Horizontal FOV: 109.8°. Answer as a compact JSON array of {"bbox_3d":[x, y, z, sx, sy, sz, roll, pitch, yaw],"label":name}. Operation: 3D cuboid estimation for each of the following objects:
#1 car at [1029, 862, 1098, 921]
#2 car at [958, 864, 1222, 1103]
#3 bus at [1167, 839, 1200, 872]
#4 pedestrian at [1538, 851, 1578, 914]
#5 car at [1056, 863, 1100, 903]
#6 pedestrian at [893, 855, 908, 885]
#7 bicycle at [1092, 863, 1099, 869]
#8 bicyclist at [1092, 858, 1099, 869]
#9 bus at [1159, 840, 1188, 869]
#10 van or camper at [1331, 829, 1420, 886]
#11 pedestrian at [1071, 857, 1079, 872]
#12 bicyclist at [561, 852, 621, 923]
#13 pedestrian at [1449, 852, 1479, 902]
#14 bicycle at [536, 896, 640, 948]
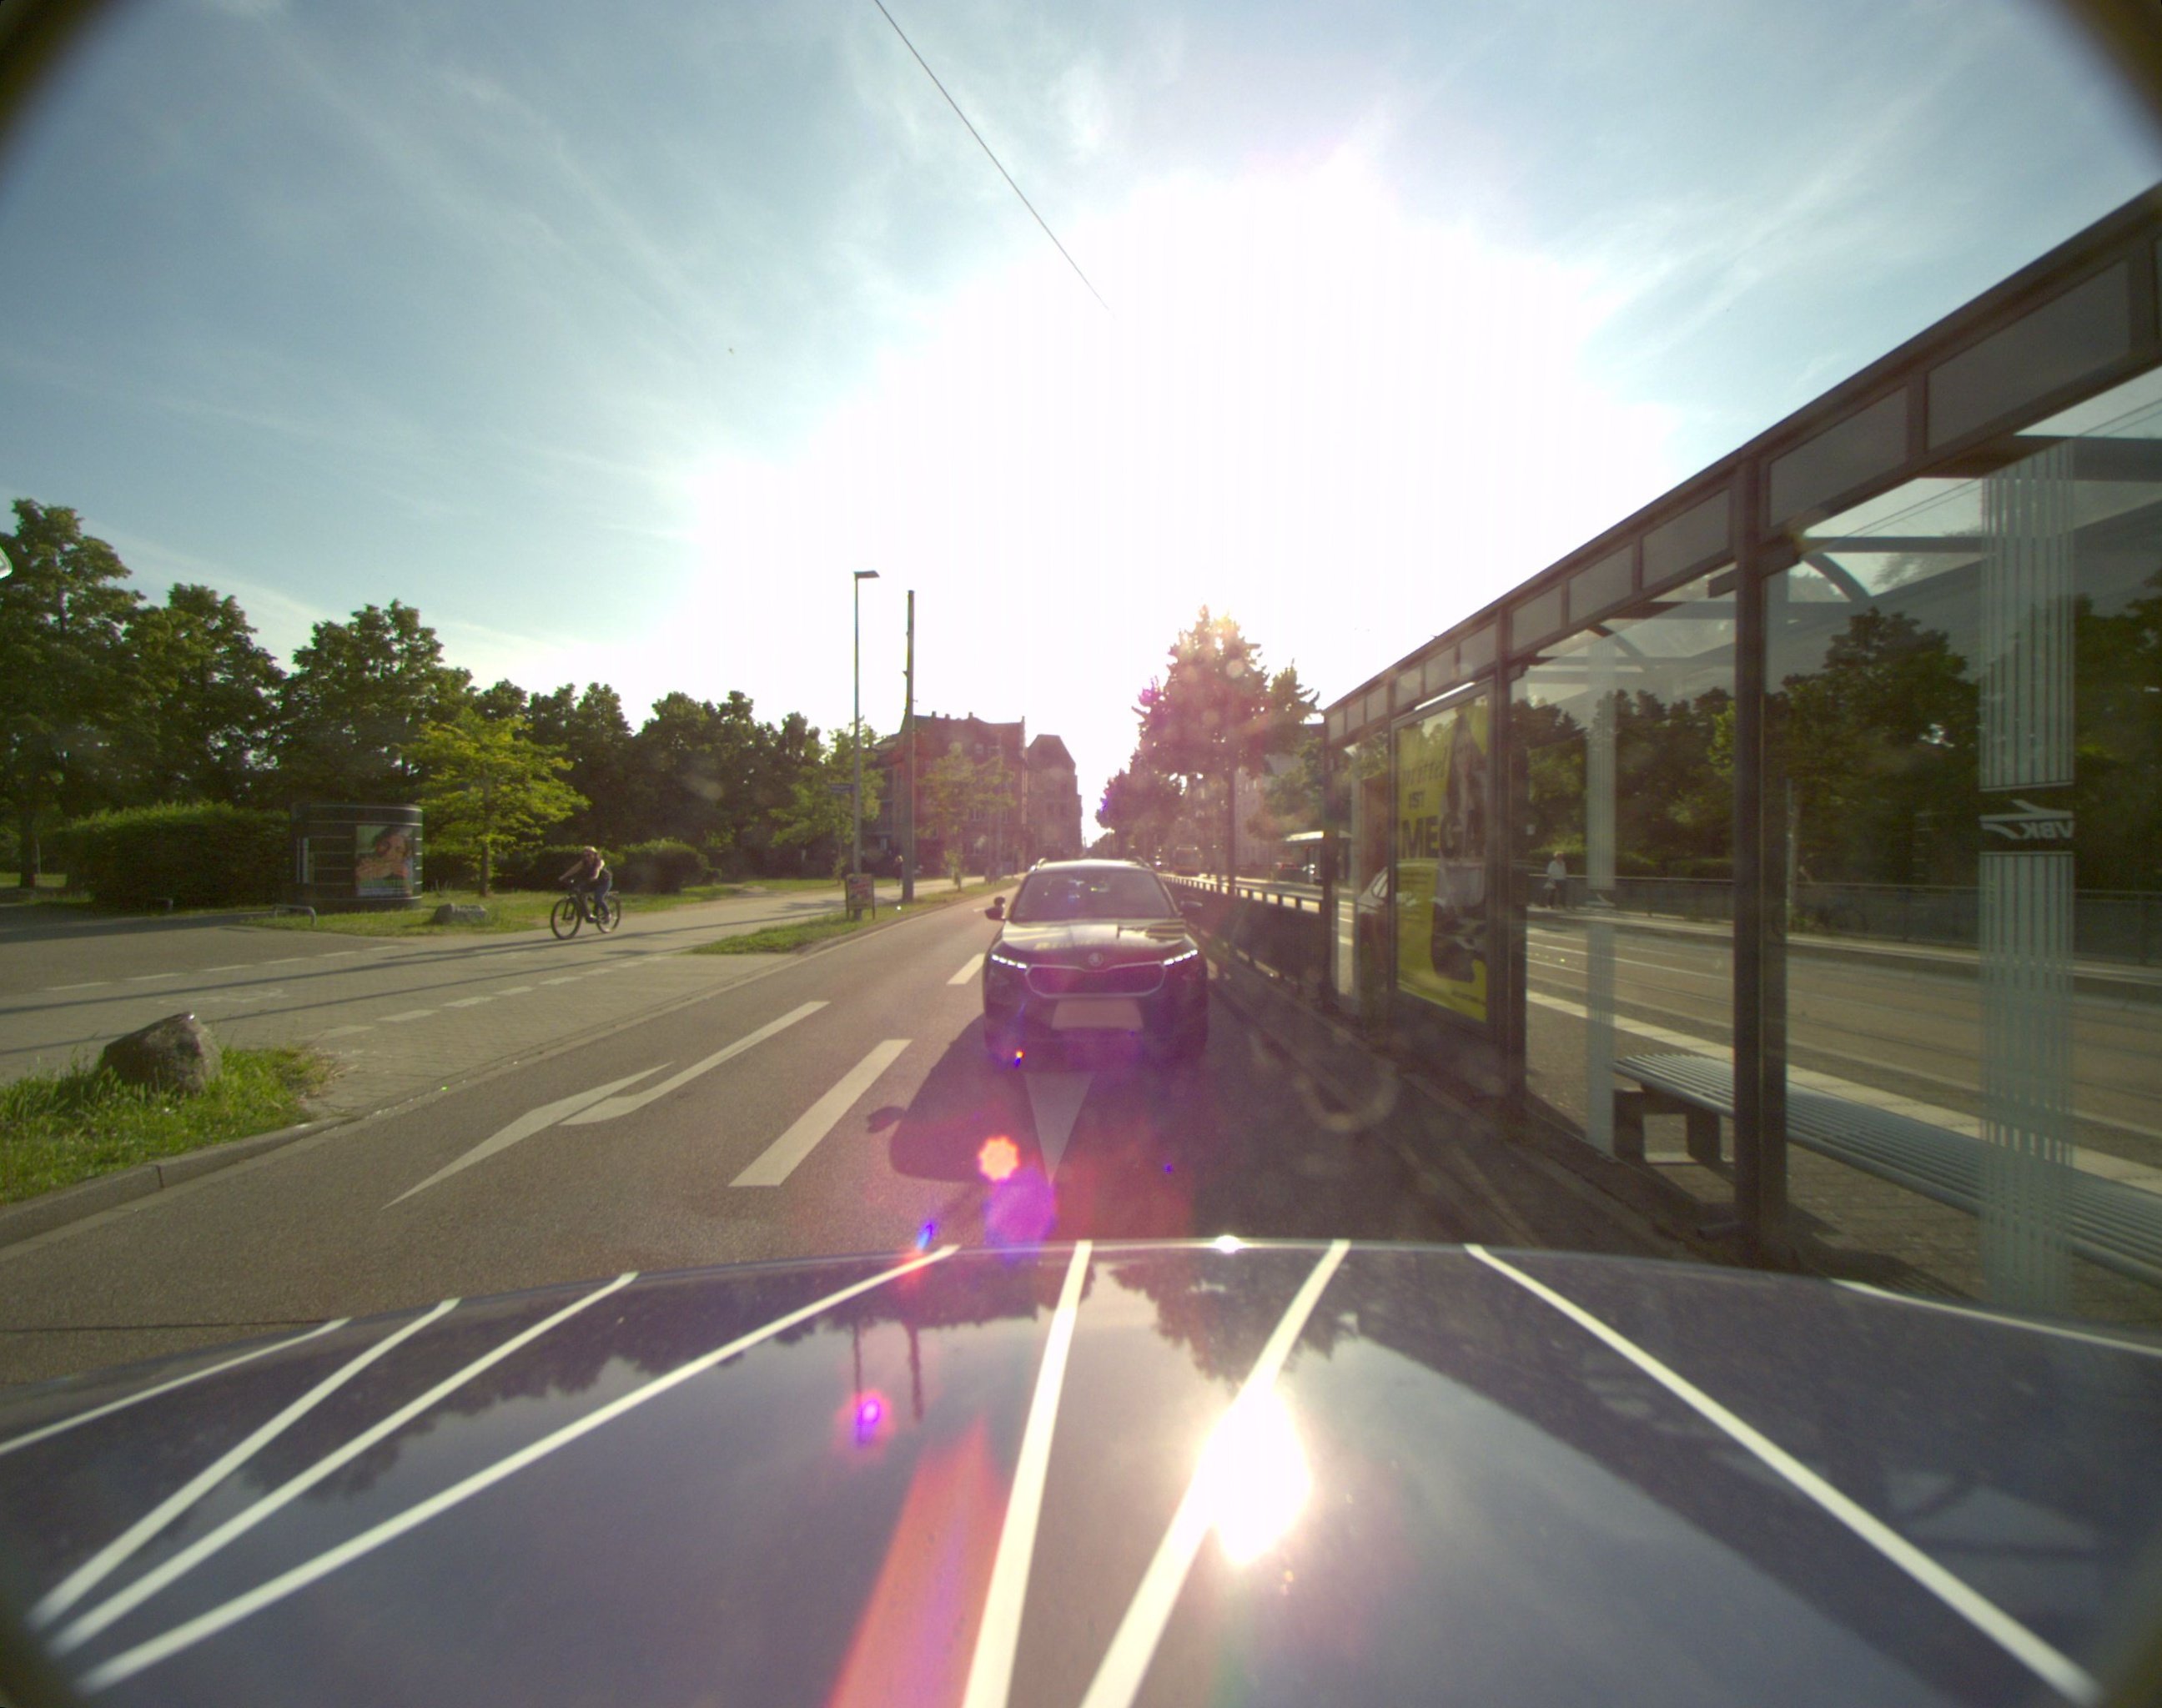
[{"bbox_3d":[-0.430,0.994,21.724,1.756,1.451,4.235,-1,0,0],"label":"car"},{"bbox_3d":[0.075,0.911,7.274,1.756,1.534,4.235,-1,0,0],"label":"car"},{"bbox_3d":[11.289,0.109,84.622,2.437,3.415,9.261,-2,1,0],"label":"bus"},{"bbox_3d":[13.046,0.775,20.797,0.621,1.674,0.618,3,0,0],"label":"pedestrian"},{"bbox_3d":[-0.101,1.190,32.866,1.756,1.534,4.235,-1,0,0],"label":"car"},{"bbox_3d":[-10.028,0.890,42.191,0.621,1.674,0.618,-1,0,0],"label":"pedestrian"},{"bbox_3d":[1.925,1.577,98.867,0.566,0.789,2.043,0,0,12],"label":"bicycle"},{"bbox_3d":[1.886,1.187,98.808,0.688,1.445,1.112,0,0,11],"label":"bicyclist"},{"bbox_3d":[11.333,0.032,93.904,2.437,3.415,9.261,-2,1,0],"label":"bus"},{"bbox_3d":[16.499,0.159,43.021,2.527,2.951,6.410,-2,1,0],"label":"van or camper"},{"bbox_3d":[-0.615,1.019,75.184,0.637,1.512,0.844,-2,1,-4],"label":"pedestrian"},{"bbox_3d":[-8.995,0.597,13.979,0.535,1.255,0.869,0,0,0],"label":"bicyclist"},{"bbox_3d":[13.398,0.802,26.600,0.621,1.674,0.618,3,0,0],"label":"pedestrian"},{"bbox_3d":[-9.014,1.214,14.006,0.496,0.753,2.168,1,0,0],"label":"bicycle"}]
